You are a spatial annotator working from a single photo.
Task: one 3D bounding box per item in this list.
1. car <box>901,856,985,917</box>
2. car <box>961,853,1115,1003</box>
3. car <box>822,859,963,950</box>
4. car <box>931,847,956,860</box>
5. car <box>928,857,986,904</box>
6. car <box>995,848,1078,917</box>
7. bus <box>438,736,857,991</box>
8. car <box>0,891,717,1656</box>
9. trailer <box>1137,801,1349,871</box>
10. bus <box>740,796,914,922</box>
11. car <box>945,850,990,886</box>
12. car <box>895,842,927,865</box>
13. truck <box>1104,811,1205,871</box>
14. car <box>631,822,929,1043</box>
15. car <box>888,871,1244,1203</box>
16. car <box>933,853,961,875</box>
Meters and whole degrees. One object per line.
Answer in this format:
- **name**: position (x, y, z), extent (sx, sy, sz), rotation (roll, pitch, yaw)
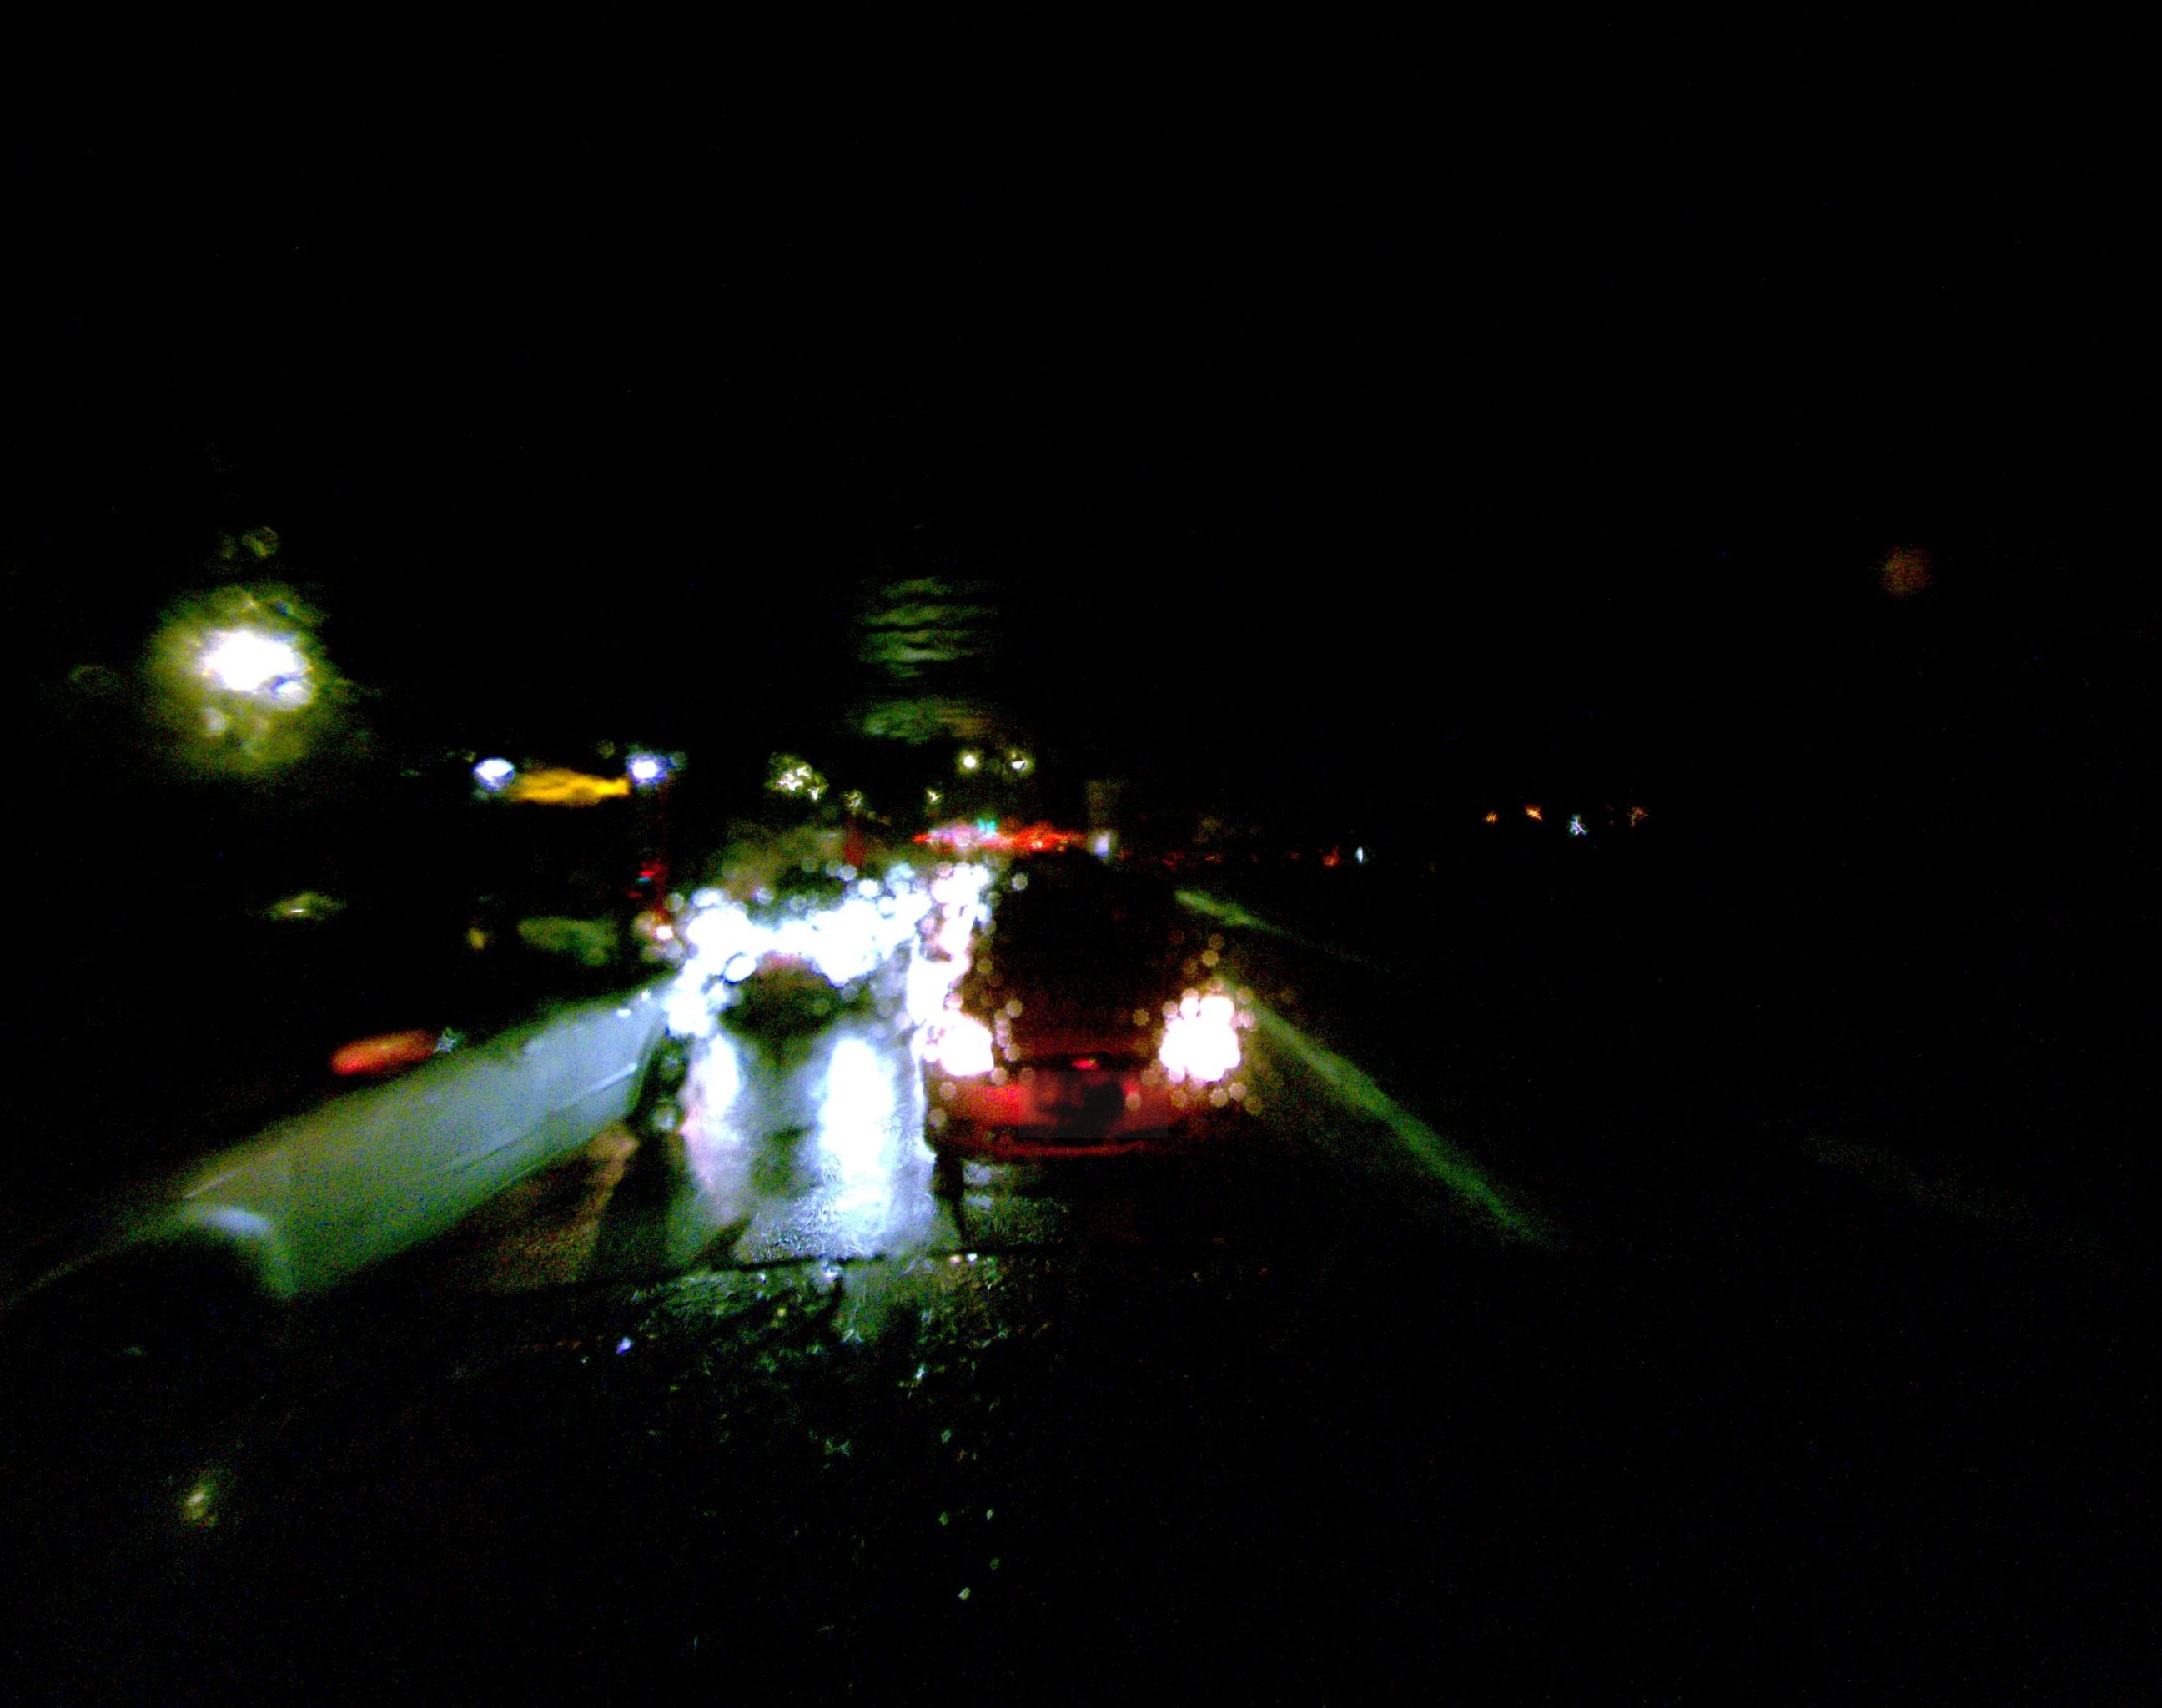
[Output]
- **car**: position (-3.916, 0.875, 22.169), extent (1.629, 1.494, 3.999), rotation (-2, 1, 1)
- **car**: position (-0.461, 0.843, 10.615), extent (1.683, 1.591, 3.996), rotation (-2, 1, 1)
- **car**: position (-3.735, 0.937, 15.737), extent (1.869, 1.503, 3.766), rotation (-2, 1, 1)
- **car**: position (-18.737, -0.066, 103.599), extent (2.003, 1.596, 3.990), rotation (-3, 1, -31)
- **car**: position (-4.384, 0.897, 27.366), extent (1.683, 1.463, 3.998), rotation (-2, 1, -5)
- **car**: position (-1.105, 0.638, 19.700), extent (1.881, 1.534, 3.999), rotation (-2, 1, -2)
- **bus**: position (-6.866, 0.119, 14.434), extent (2.777, 3.105, 9.758), rotation (-2, 0, -4)
- **car**: position (-3.181, 1.000, 2.677), extent (1.792, 1.359, 3.999), rotation (-2, 2, 0)
- **trailer**: position (11.069, -1.104, 53.174), extent (13.883, 4.152, 3.976), rotation (-2, 1, 31)
- **bus**: position (-7.502, 0.145, 24.169), extent (2.777, 3.105, 9.758), rotation (-2, 0, -4)
- **car**: position (-5.539, 0.643, 37.578), extent (1.743, 1.581, 3.998), rotation (-2, 1, -3)
- **car**: position (-11.385, -0.011, 51.119), extent (1.854, 1.476, 4.625), rotation (-1, 0, -10)
- **truck**: position (5.417, -0.921, 56.702), extent (3.977, 4.152, 6.359), rotation (-3, 1, -40)
- **car**: position (-3.363, 0.742, 9.575), extent (1.999, 2.076, 4.347), rotation (-2, 1, -1)
- **car**: position (-0.041, 0.900, 5.505), extent (1.603, 1.360, 3.942), rotation (-2, 1, 1)
- **car**: position (-10.220, 0.732, 57.903), extent (1.883, 1.463, 3.995), rotation (-2, 1, -12)
